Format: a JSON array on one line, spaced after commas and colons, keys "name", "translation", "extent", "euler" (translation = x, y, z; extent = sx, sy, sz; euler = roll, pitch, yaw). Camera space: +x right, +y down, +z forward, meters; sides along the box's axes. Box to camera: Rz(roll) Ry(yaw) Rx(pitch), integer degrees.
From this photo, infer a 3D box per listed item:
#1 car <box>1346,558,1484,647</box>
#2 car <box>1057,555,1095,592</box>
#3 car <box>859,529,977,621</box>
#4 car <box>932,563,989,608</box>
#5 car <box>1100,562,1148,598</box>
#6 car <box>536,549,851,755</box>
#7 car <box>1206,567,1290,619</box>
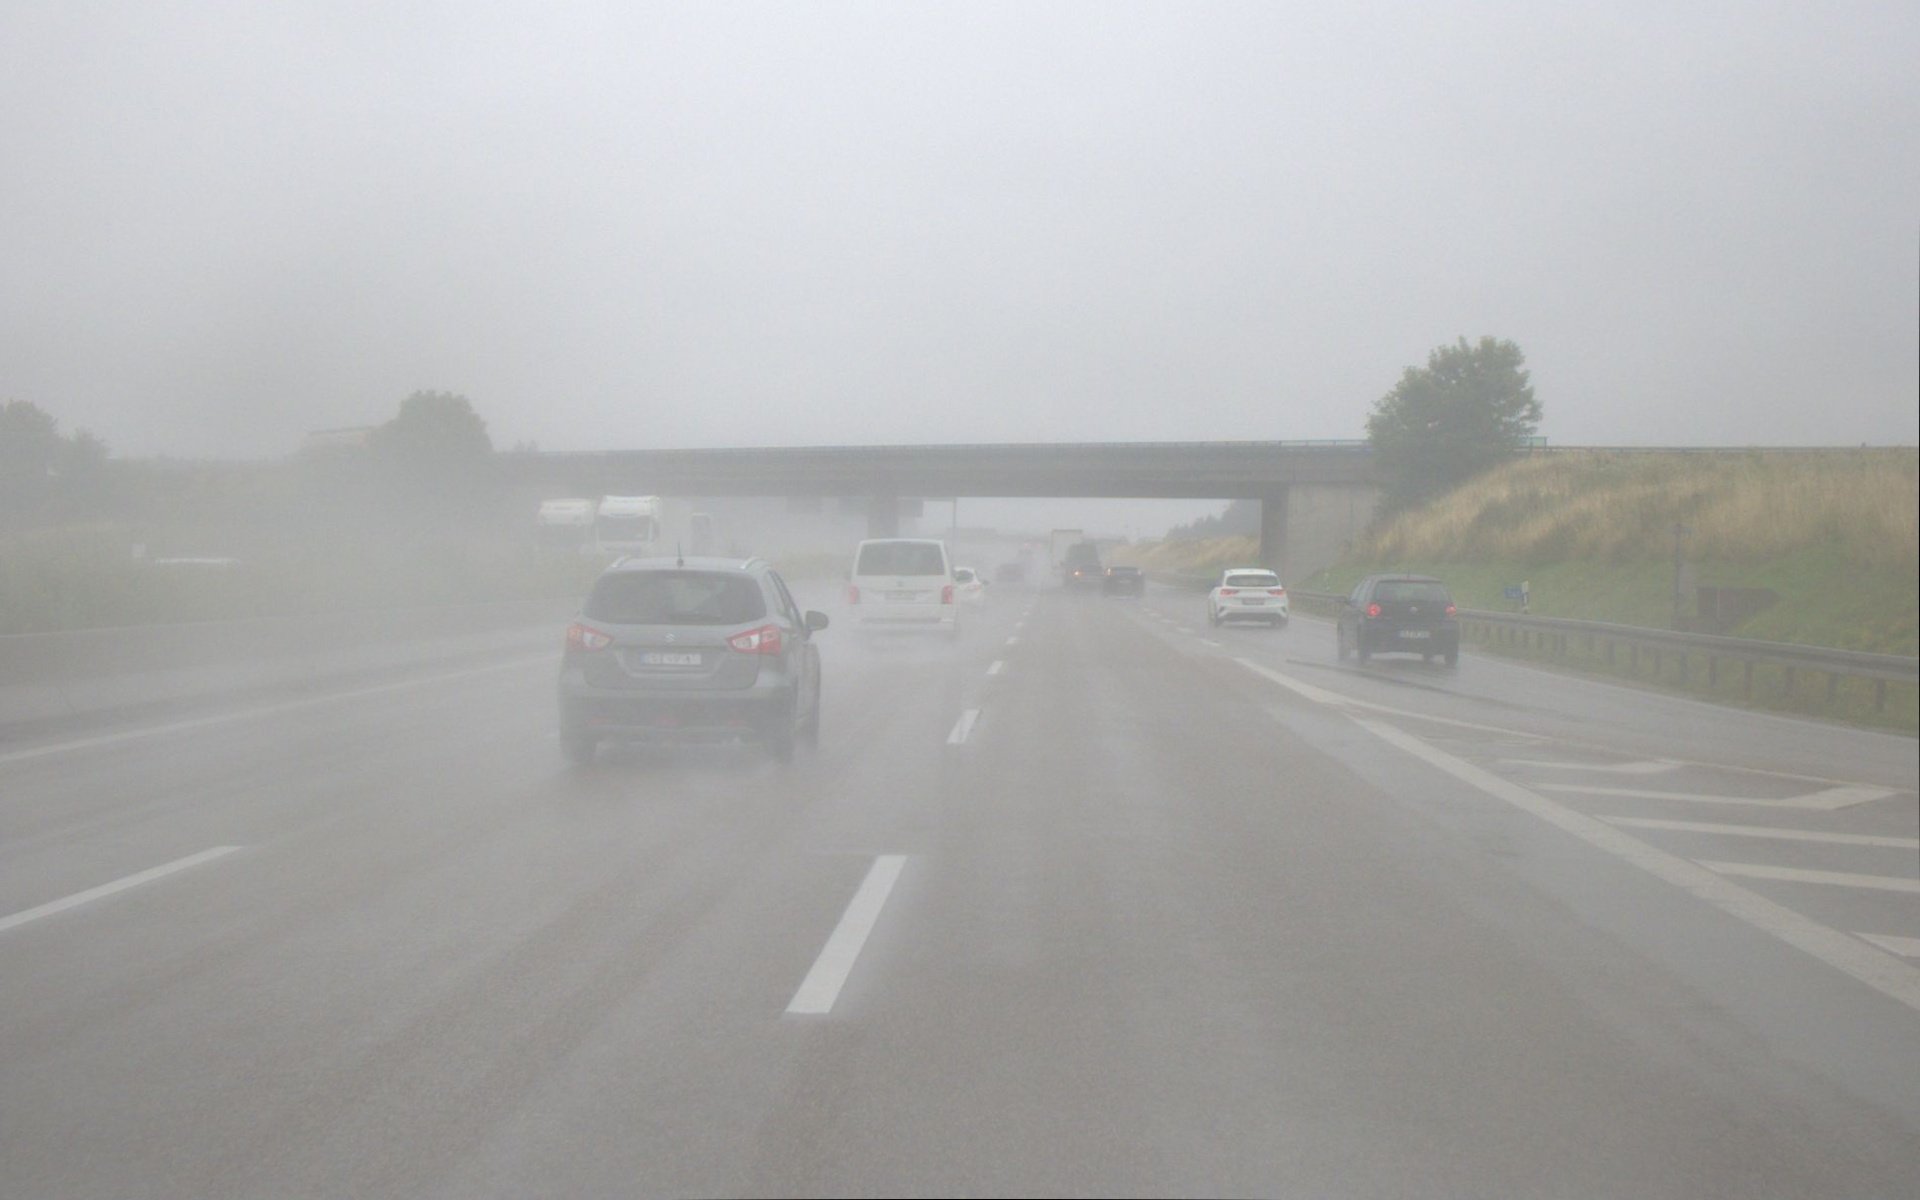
[{"name": "car", "translation": [7.514, 0.016, 57.052], "extent": [1.731, 1.416, 3.658], "euler": [0, 1, -1]}, {"name": "car", "translation": [6.722, -1.545, 200.053], "extent": [1.993, 2.094, 4.000], "euler": [0, 1, -1]}, {"name": "car", "translation": [-0.711, -0.437, 61.151], "extent": [1.897, 1.580, 4.000], "euler": [1, 0, 2]}, {"name": "car", "translation": [0.026, -0.415, 95.876], "extent": [1.468, 1.204, 2.991], "euler": [1, 1, 2]}, {"name": "car", "translation": [6.955, -0.858, 146.288], "extent": [1.801, 1.503, 4.000], "euler": [1, 0, -1]}, {"name": "car", "translation": [-2.039, 0.360, 27.666], "extent": [1.846, 1.508, 4.756], "euler": [0, 1, 4]}, {"name": "car", "translation": [7.143, -0.179, 85.666], "extent": [1.994, 1.262, 3.999], "euler": [1, 0, 4]}]
